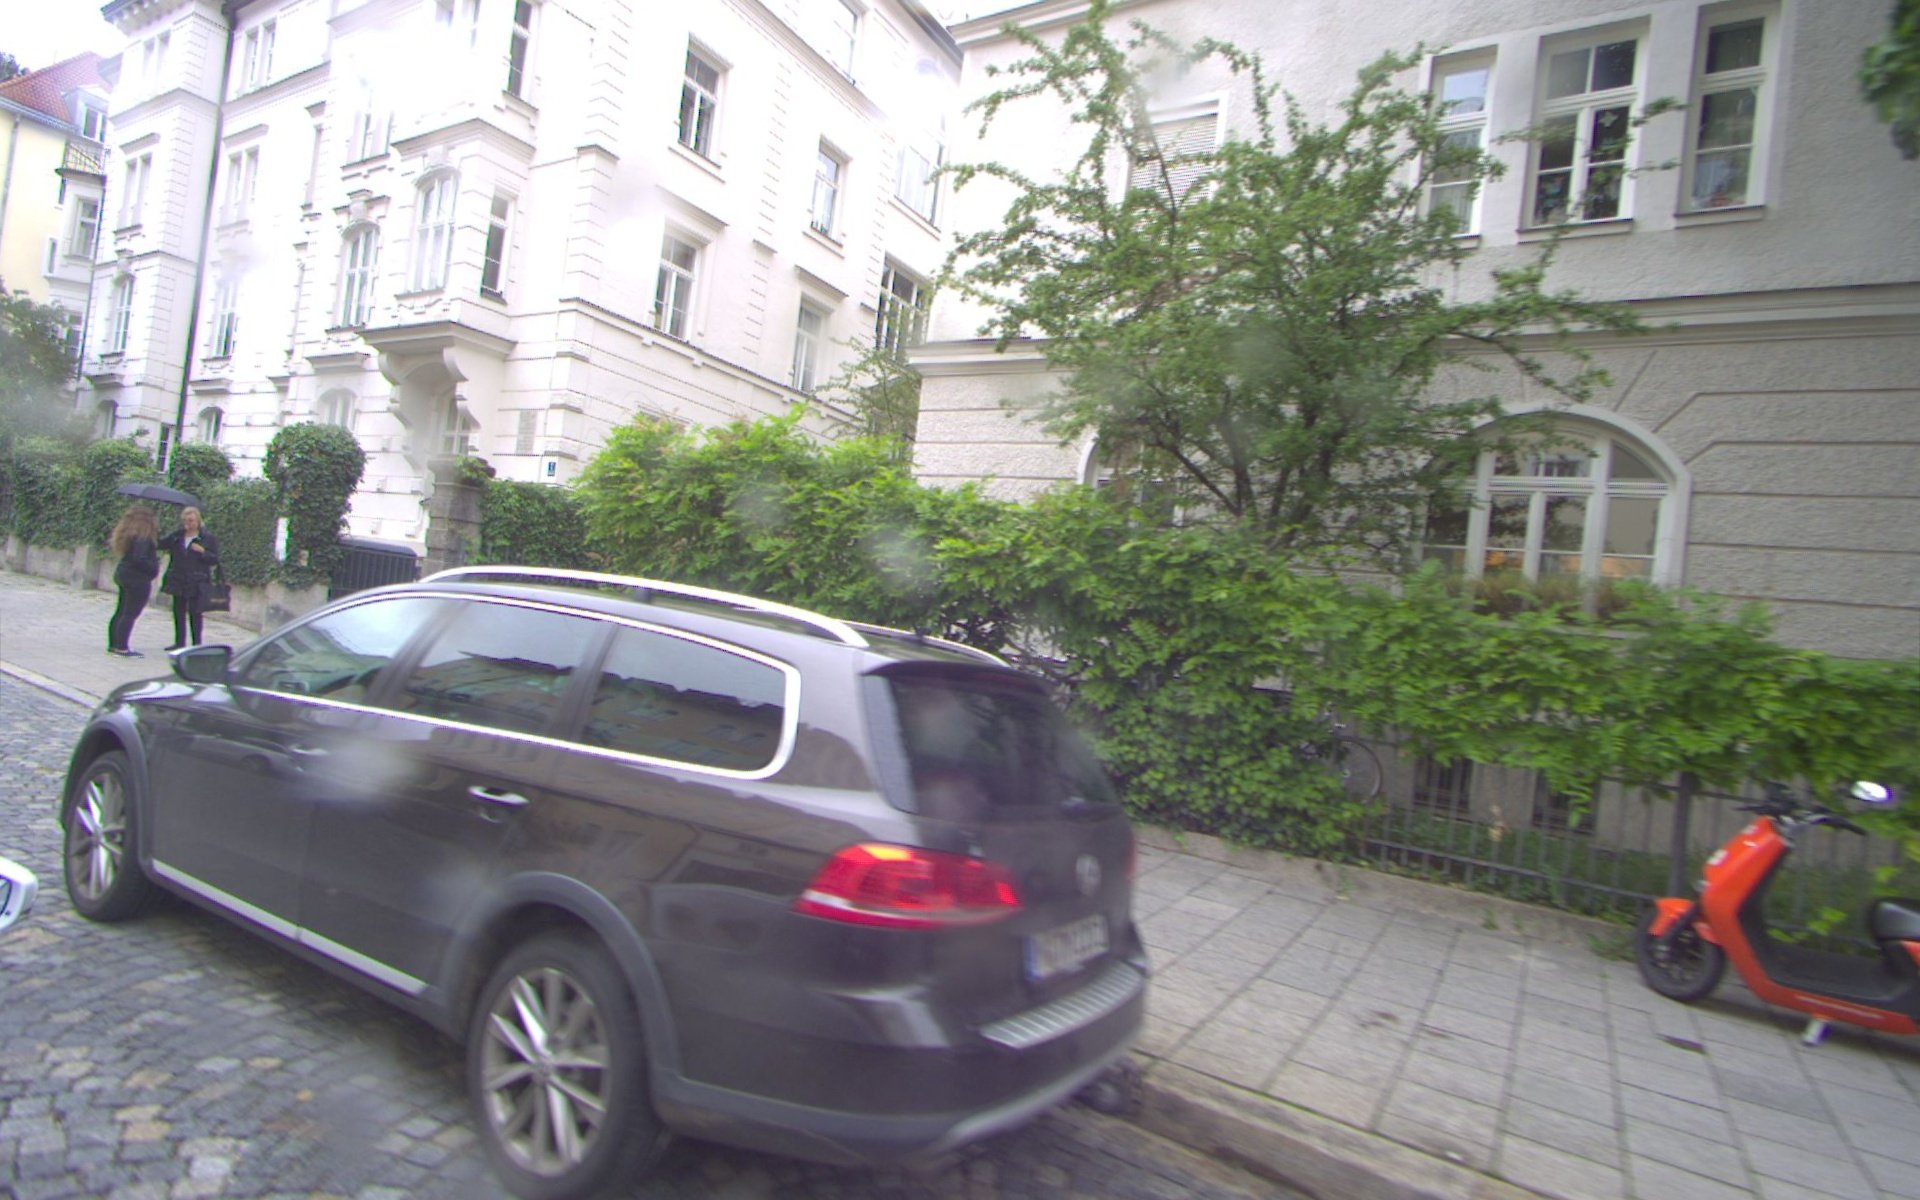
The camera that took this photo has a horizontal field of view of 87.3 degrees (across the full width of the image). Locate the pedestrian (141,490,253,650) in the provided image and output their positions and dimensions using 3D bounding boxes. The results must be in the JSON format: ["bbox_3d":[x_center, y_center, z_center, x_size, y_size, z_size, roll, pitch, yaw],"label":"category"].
[{"bbox_3d":[-9.258,-0.341,12.228,0.647,1.829,0.631,7,-1,9],"label":"pedestrian"}]

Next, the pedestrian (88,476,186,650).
[{"bbox_3d":[-9.319,-0.422,11.390,0.672,1.872,0.575,7,0,40],"label":"pedestrian"}]

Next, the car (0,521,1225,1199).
[{"bbox_3d":[-1.578,0.704,3.727,4.555,1.436,1.654,6,-5,31],"label":"car"}]

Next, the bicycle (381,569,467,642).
[{"bbox_3d":[-8.993,0.088,16.876,1.460,1.054,0.394,6,-1,27],"label":"bicycle"}]
